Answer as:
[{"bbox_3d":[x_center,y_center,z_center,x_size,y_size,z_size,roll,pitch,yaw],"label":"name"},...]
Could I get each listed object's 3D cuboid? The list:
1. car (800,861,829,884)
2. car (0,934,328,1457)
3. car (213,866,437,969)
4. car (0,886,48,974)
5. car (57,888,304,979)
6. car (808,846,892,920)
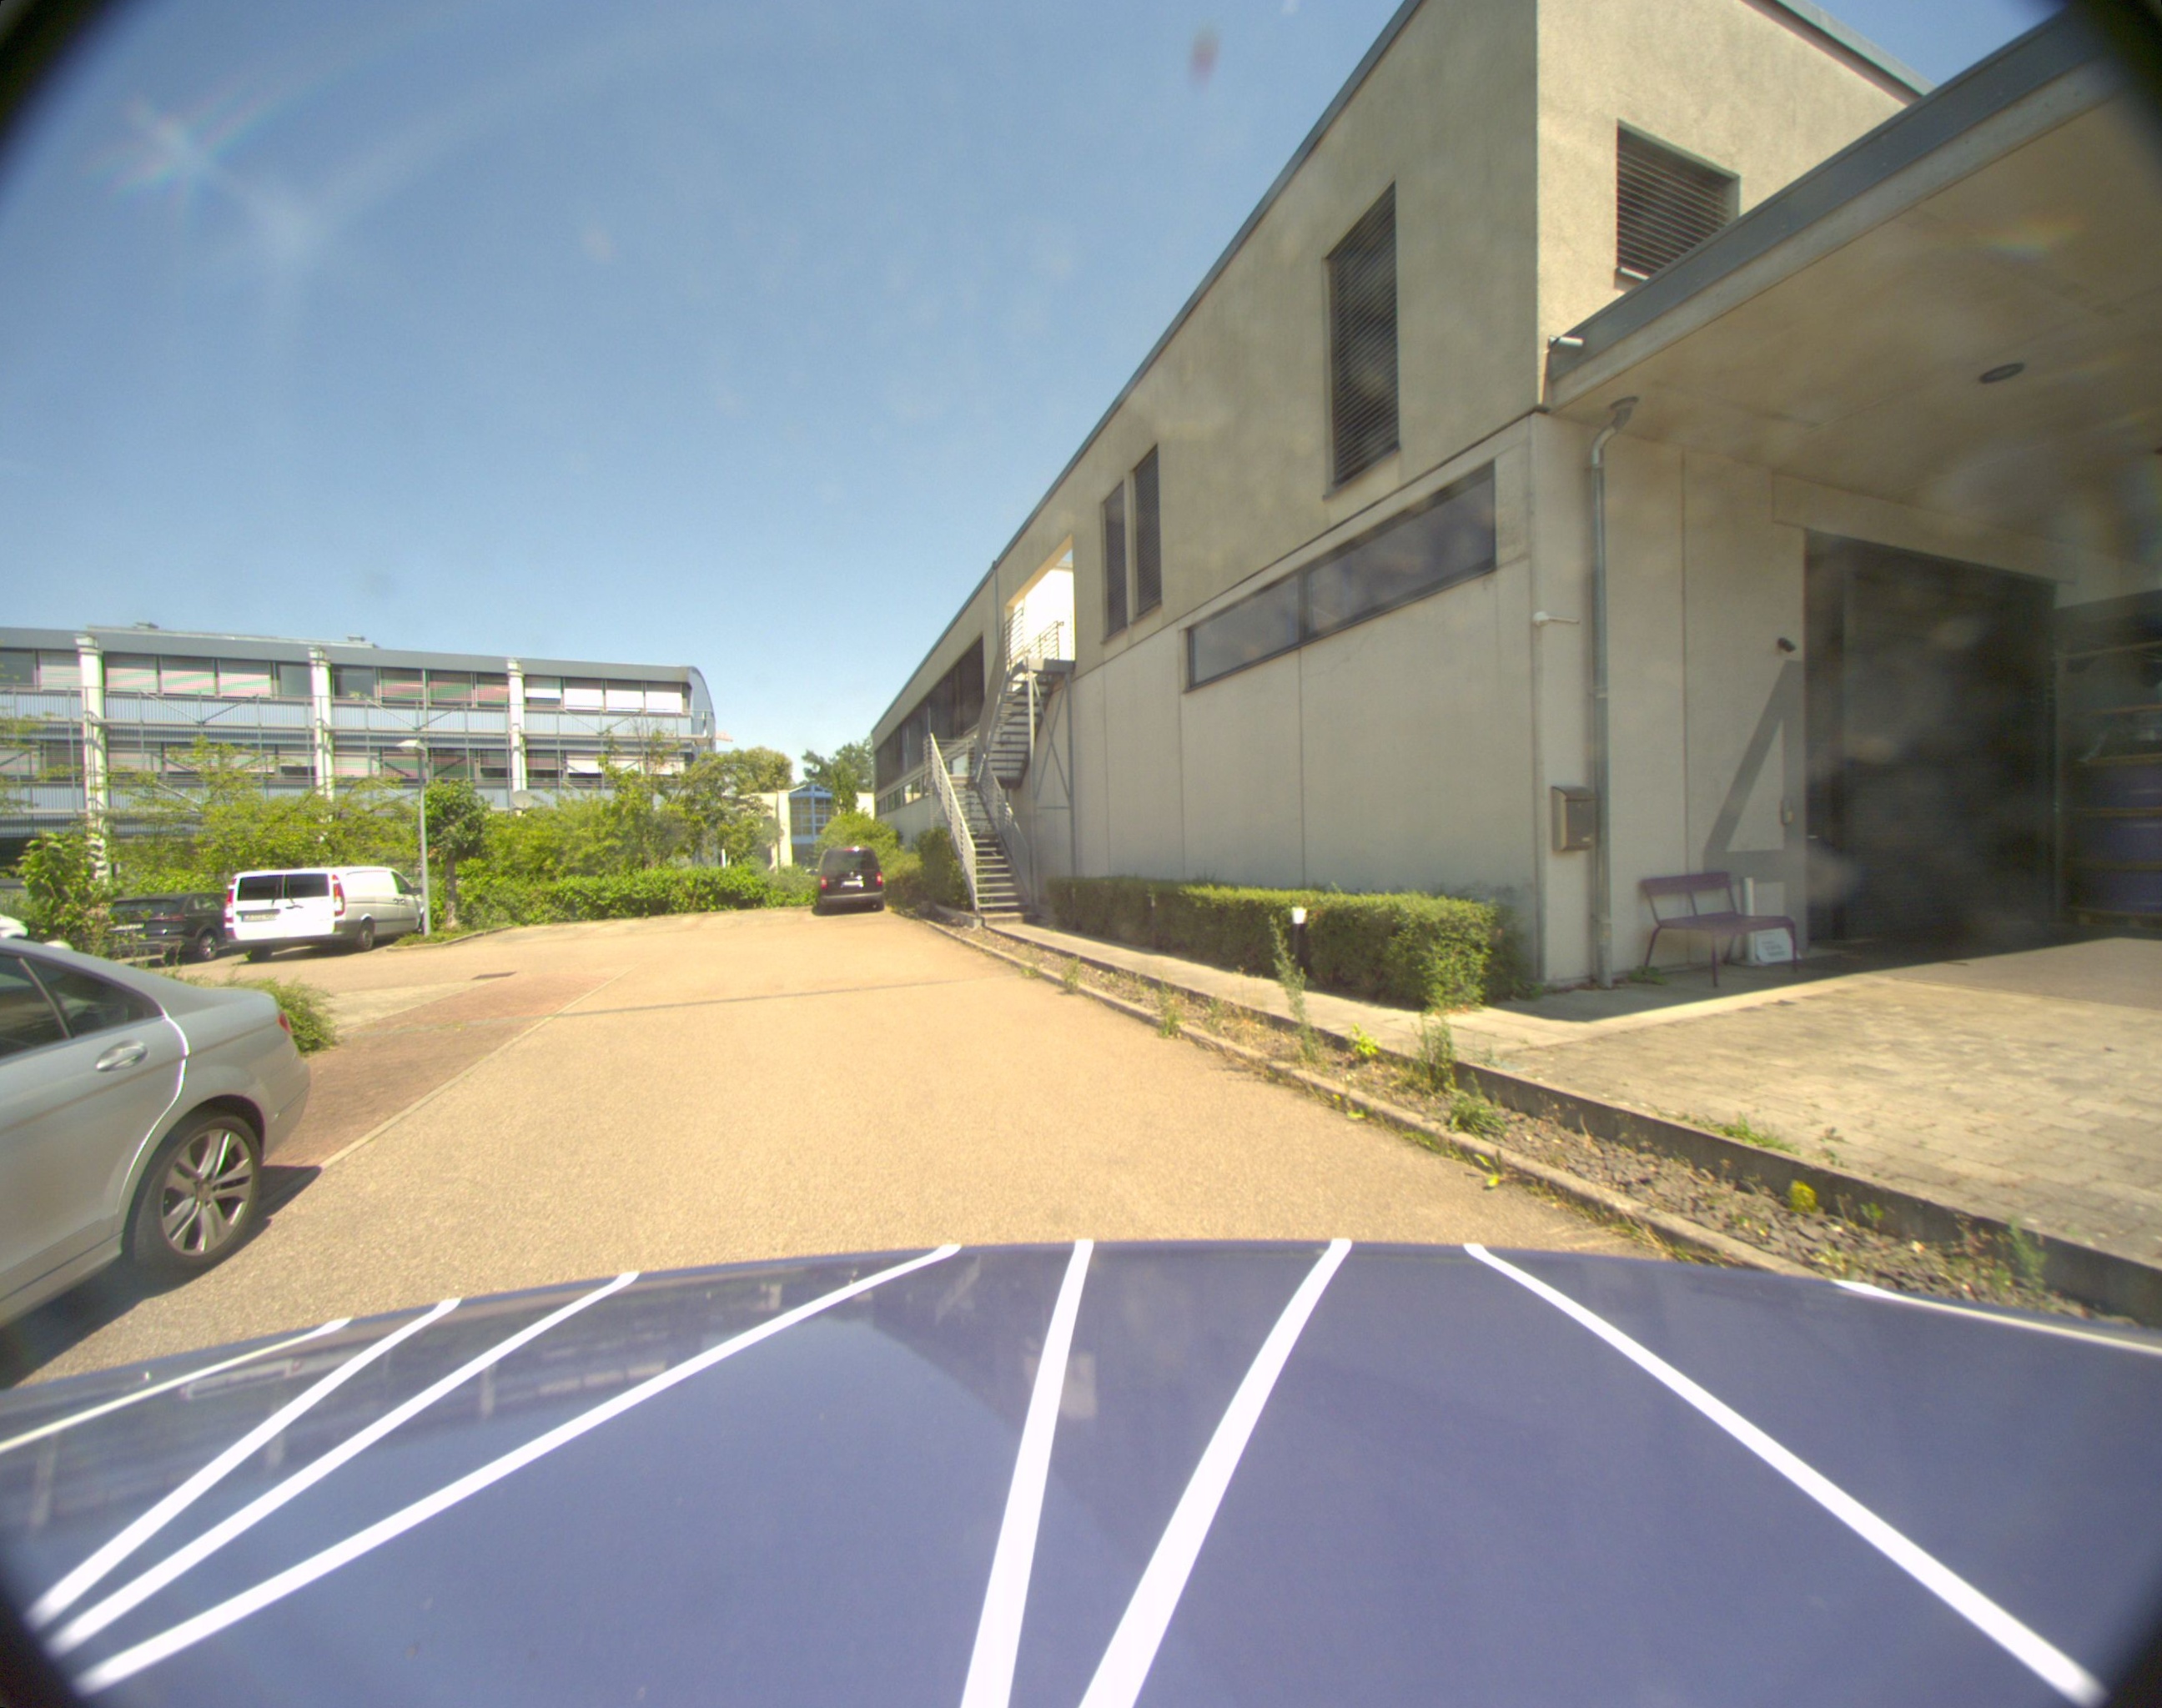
[{"bbox_3d":[-21.839,1.491,62.217,1.839,1.558,3.991,-3,2,-25],"label":"car"},{"bbox_3d":[-3.867,1.129,1.315,1.806,1.390,4.412,-3,1,-18],"label":"car"},{"bbox_3d":[-16.953,1.291,17.418,1.870,1.849,4.668,-4,1,-22],"label":"car"},{"bbox_3d":[-23.654,1.725,14.676,1.858,1.845,4.926,-4,2,-20],"label":"car"},{"bbox_3d":[-19.756,1.638,16.984,1.741,1.475,4.190,-4,1,-22],"label":"car"},{"bbox_3d":[-6.863,0.758,22.260,1.870,1.849,4.220,-4,1,-22],"label":"car"}]
